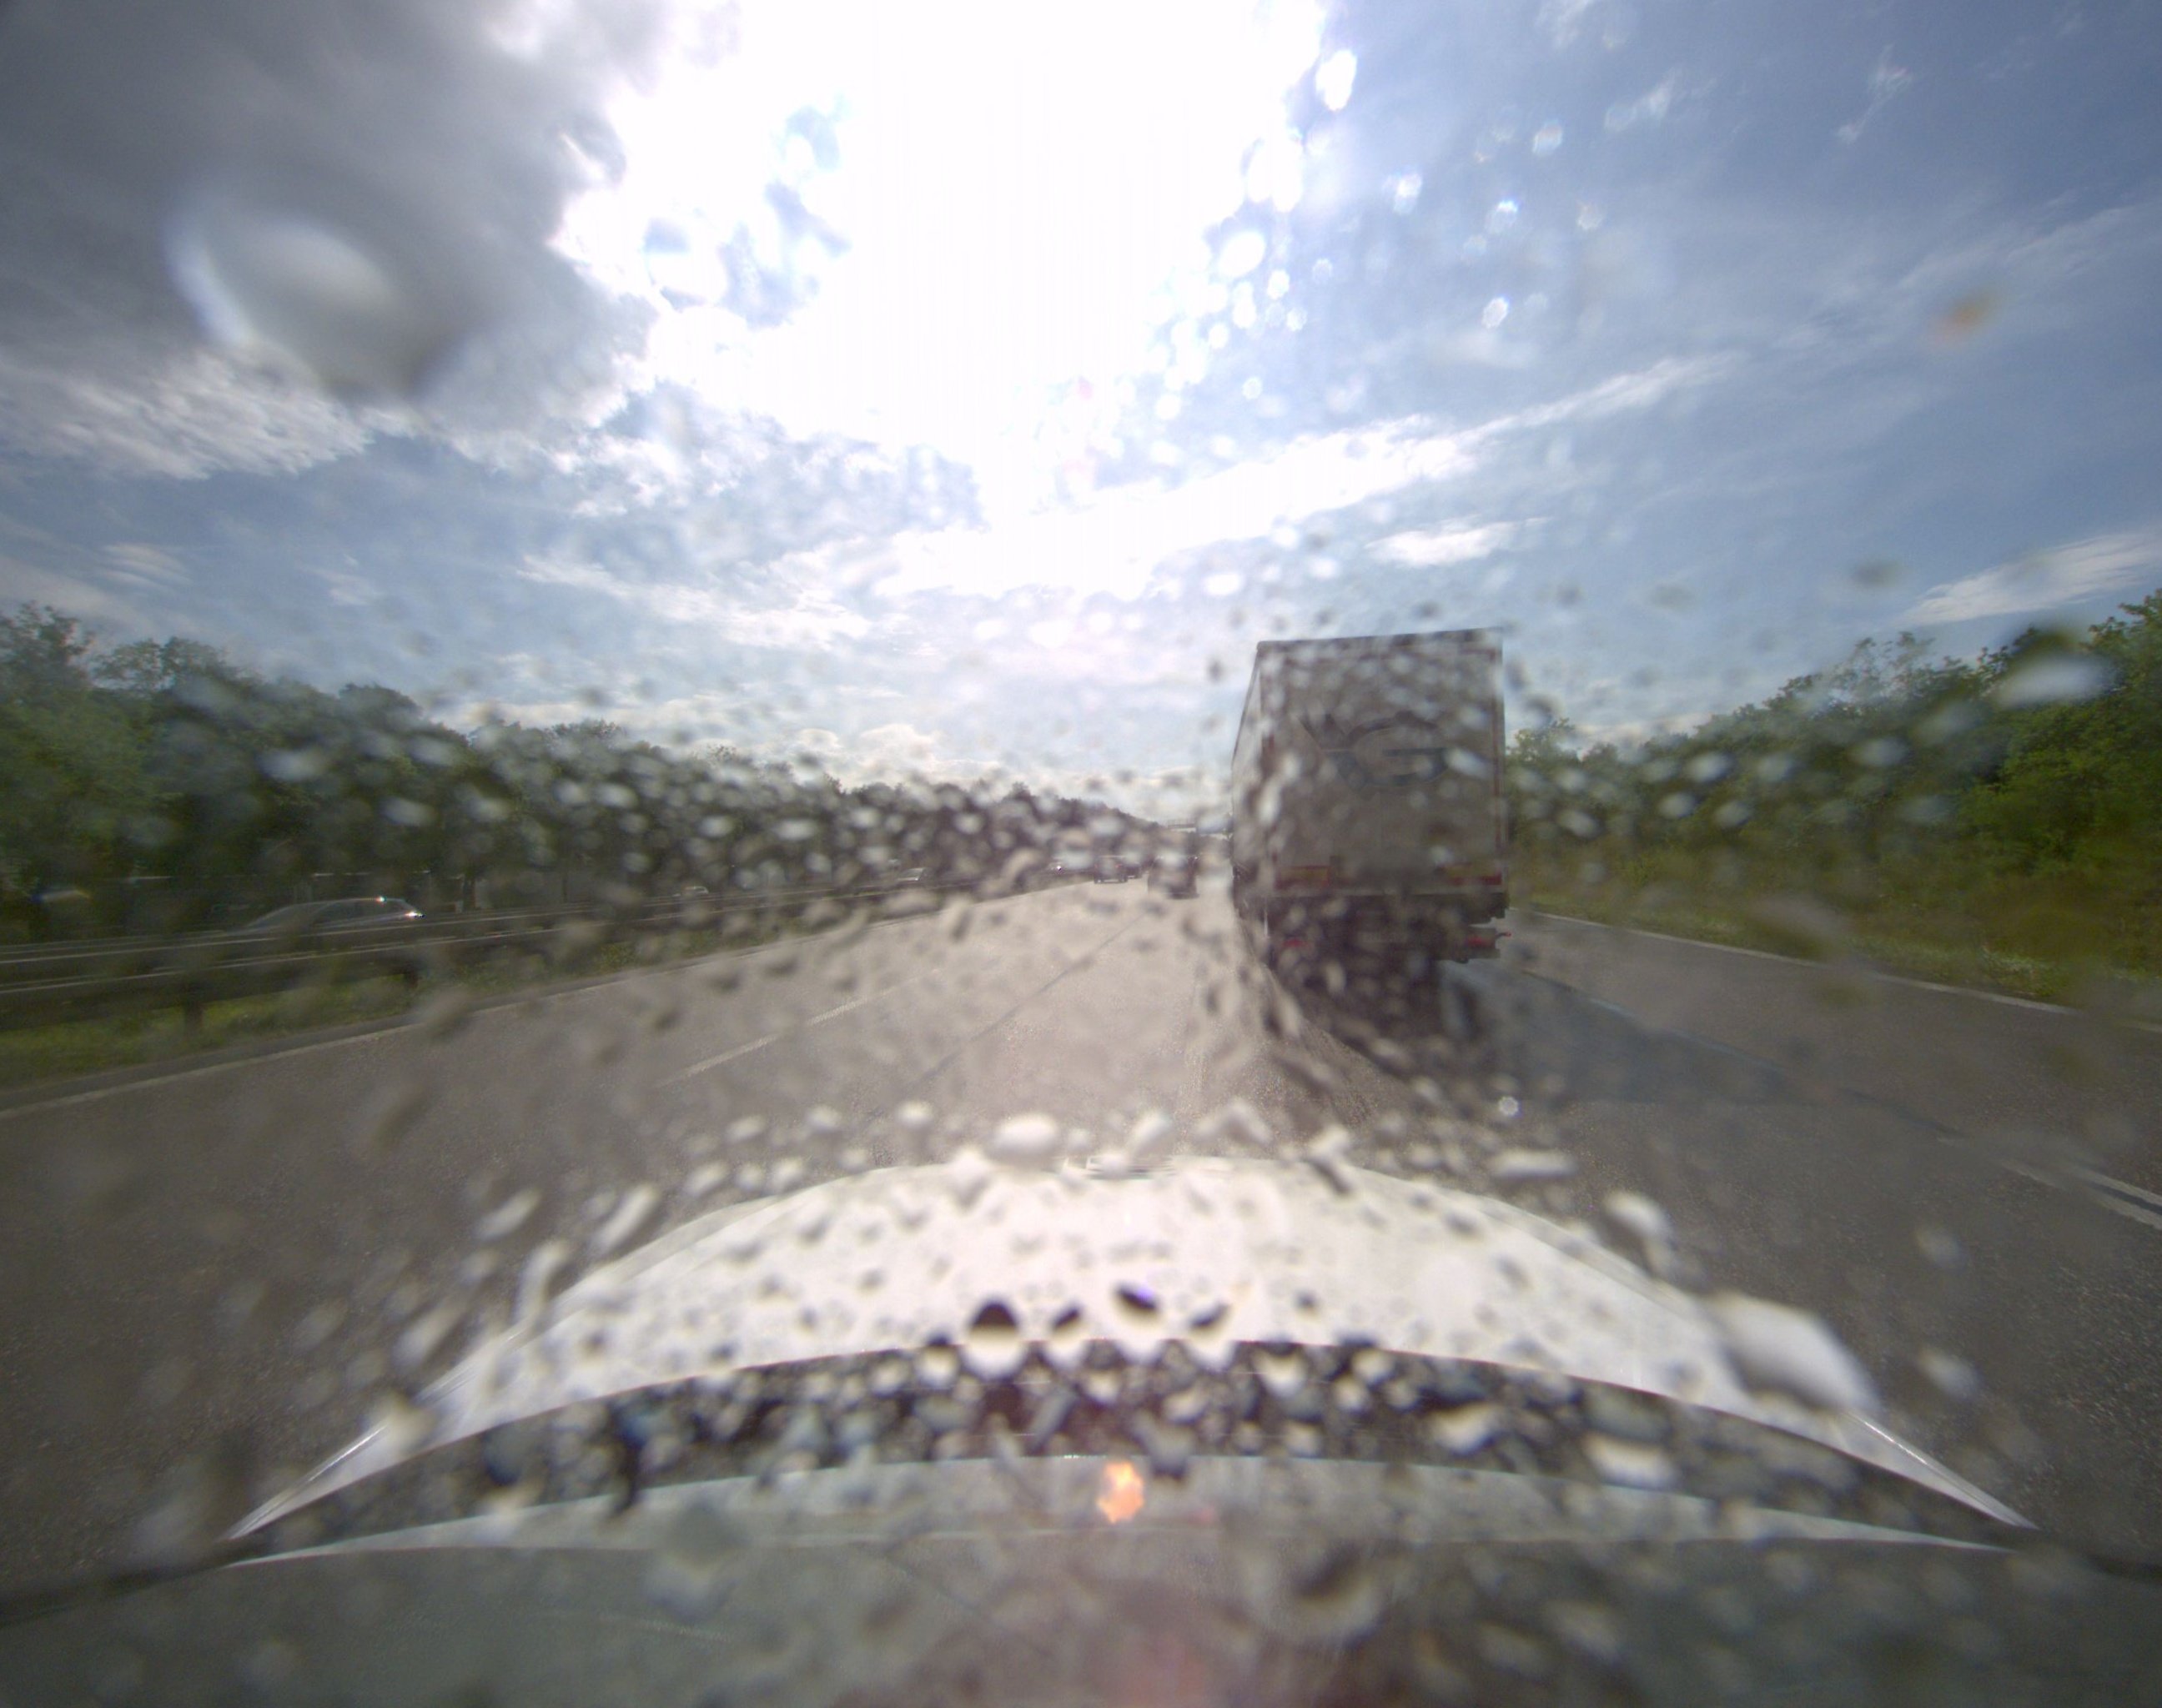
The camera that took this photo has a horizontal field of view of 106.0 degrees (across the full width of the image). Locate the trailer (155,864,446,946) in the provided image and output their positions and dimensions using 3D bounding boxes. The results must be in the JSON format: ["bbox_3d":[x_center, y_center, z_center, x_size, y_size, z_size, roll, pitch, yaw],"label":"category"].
[{"bbox_3d":[-49.410,2.980,52.739,3.764,4.406,13.843,-3,-1,11],"label":"trailer"}]

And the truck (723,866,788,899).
[{"bbox_3d":[-38.184,3.310,95.885,3.759,3.660,6.732,-1,-1,15],"label":"truck"}]

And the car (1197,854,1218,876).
[{"bbox_3d":[10.427,0.911,67.187,1.683,1.805,3.985,-1,-1,8],"label":"car"}]

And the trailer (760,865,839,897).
[{"bbox_3d":[-35.765,3.339,104.084,3.759,3.649,10.545,-3,-1,17],"label":"trailer"}]

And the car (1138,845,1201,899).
[{"bbox_3d":[3.608,0.709,32.431,2.261,1.954,4.833,-1,-1,9],"label":"car"}]

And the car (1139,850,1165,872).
[{"bbox_3d":[6.854,0.671,77.690,1.966,2.054,4.770,-1,-1,11],"label":"car"}]

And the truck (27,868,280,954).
[{"bbox_3d":[-50.800,2.964,45.148,3.764,4.234,8.441,-1,-1,10],"label":"truck"}]

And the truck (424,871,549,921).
[{"bbox_3d":[-46.617,3.187,64.211,3.764,3.590,7.376,-1,-1,10],"label":"truck"}]

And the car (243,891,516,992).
[{"bbox_3d":[-16.172,1.920,19.212,1.819,1.891,4.792,-1,-1,10],"label":"car"}]

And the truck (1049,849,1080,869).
[{"bbox_3d":[-2.260,0.723,114.582,2.824,2.682,7.212,-1,-1,10],"label":"truck"}]

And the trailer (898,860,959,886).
[{"bbox_3d":[-24.620,3.031,132.617,3.754,4.117,11.790,-1,-1,23],"label":"trailer"}]

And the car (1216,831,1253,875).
[{"bbox_3d":[21.841,-0.010,116.884,4.379,5.830,16.855,-1,-1,8],"label":"car"}]

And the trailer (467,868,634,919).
[{"bbox_3d":[-45.373,3.241,70.611,3.764,3.649,13.385,-3,-1,11],"label":"trailer"}]

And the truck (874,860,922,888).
[{"bbox_3d":[-28.011,2.974,124.845,3.754,4.117,7.084,-1,-1,23],"label":"truck"}]

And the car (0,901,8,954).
[{"bbox_3d":[-52.119,3.413,35.259,2.775,2.482,6.228,-1,-1,10],"label":"car"}]

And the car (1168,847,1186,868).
[{"bbox_3d":[12.563,0.474,106.258,1.981,2.615,5.275,-1,-1,11],"label":"car"}]

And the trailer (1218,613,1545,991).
[{"bbox_3d":[4.332,-0.496,15.614,3.264,3.899,14.166,-1,0,10],"label":"trailer"}]

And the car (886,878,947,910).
[{"bbox_3d":[-10.574,2.541,52.834,2.286,1.891,4.792,-1,-1,10],"label":"car"}]

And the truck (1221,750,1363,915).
[{"bbox_3d":[5.578,-0.487,22.685,3.264,3.891,6.413,-1,0,10],"label":"truck"}]

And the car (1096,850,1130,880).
[{"bbox_3d":[2.042,0.682,50.840,1.683,1.805,3.985,-1,-1,8],"label":"car"}]

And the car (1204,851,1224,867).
[{"bbox_3d":[13.231,0.534,81.289,1.854,1.516,3.985,-1,-1,8],"label":"car"}]

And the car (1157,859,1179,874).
[{"bbox_3d":[9.785,1.397,91.230,1.981,1.565,4.770,-1,-1,11],"label":"car"}]

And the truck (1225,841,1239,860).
[{"bbox_3d":[30.365,-0.651,163.547,2.758,3.632,5.934,-1,-1,11],"label":"truck"}]

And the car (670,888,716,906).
[{"bbox_3d":[-41.007,4.541,86.176,2.044,1.718,4.383,-1,-1,13],"label":"car"}]

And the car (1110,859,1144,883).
[{"bbox_3d":[3.424,1.267,59.993,1.897,1.636,4.630,-2,-1,11],"label":"car"}]
